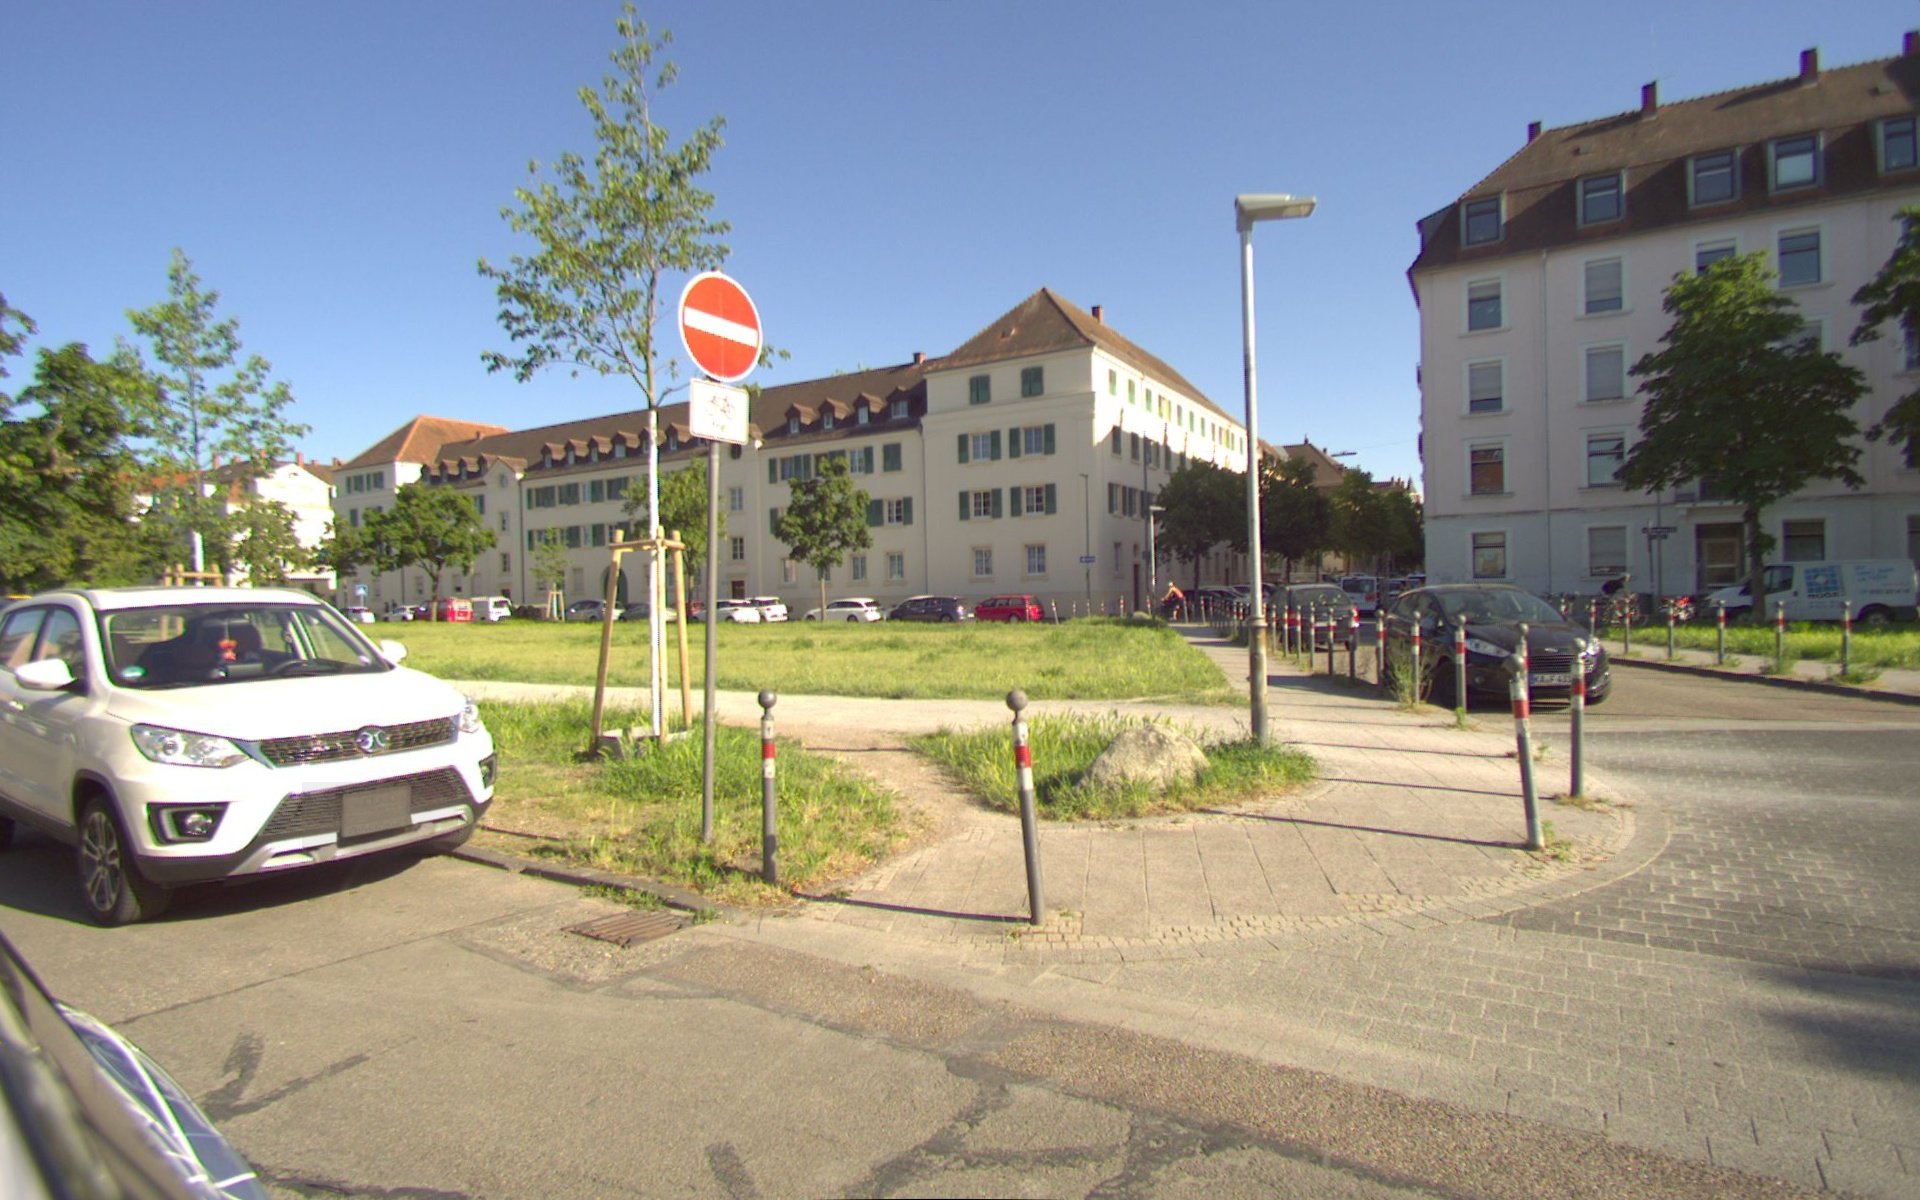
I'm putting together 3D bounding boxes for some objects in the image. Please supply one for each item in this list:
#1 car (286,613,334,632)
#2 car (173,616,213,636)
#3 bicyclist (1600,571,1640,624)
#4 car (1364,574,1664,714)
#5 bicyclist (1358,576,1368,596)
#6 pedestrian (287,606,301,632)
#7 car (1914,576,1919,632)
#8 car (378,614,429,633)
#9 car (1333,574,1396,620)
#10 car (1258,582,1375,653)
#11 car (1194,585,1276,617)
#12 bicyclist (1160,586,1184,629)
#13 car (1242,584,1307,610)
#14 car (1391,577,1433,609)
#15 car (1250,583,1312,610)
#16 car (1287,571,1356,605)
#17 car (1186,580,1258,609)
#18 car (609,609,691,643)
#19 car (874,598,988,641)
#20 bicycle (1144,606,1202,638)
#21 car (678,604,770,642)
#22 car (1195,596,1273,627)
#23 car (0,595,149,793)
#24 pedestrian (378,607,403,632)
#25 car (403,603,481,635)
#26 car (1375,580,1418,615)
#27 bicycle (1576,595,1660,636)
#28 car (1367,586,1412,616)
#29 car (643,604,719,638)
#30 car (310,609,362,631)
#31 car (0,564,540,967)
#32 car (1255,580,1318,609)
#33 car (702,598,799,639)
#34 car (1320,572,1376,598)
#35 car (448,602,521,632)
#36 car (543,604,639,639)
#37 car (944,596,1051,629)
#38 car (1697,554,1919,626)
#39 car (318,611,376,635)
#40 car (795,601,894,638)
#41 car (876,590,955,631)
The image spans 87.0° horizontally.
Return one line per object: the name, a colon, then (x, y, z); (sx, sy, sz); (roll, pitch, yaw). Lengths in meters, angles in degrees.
car: (-48.108, 1.659, 74.837); (3.503, 1.343, 1.638); (-1, 0, 32)
car: (-74.580, 2.515, 98.403); (3.989, 1.807, 1.934); (-1, 0, 34)
bicyclist: (21.408, -0.077, 32.826); (0.870, 1.703, 0.629); (-1, 0, 12)
car: (6.797, 0.468, 13.047); (1.898, 1.420, 4.337); (-3, 0, 8)
bicyclist: (27.779, -0.954, 69.734); (0.531, 1.374, 0.778); (-1, 0, 29)
pedestrian: (-43.855, 1.267, 66.642); (0.672, 1.697, 0.538); (-1, 0, 38)
car: (31.871, 0.085, 30.621); (4.043, 1.765, 1.978); (-1, 0, 33)
car: (-43.112, 1.794, 78.384); (3.987, 1.366, 1.755); (-1, 0, 32)
car: (18.753, -0.162, 46.840); (2.131, 2.029, 4.532); (-1, 0, 29)
car: (8.789, 0.404, 25.342); (1.907, 1.588, 4.337); (-1, 0, 8)
car: (15.854, 0.048, 58.420); (4.226, 1.714, 1.689); (-1, 0, 30)
bicyclist: (8.956, 0.320, 42.767); (0.799, 1.816, 0.668); (-1, 0, 32)
car: (19.789, -0.171, 63.648); (3.599, 1.532, 1.842); (-1, 0, 29)
car: (30.505, -0.505, 68.214); (2.144, 1.998, 4.861); (-1, 0, 29)
car: (20.959, -0.220, 66.079); (3.599, 1.653, 1.814); (-1, 0, 29)
car: (29.280, -0.965, 81.993); (4.934, 2.538, 1.937); (-1, 0, 29)
car: (14.630, -0.298, 56.566); (3.599, 1.532, 1.692); (-1, 0, 29)
car: (-16.973, 1.405, 55.370); (3.998, 1.763, 2.298); (-1, 0, 34)
car: (-1.304, 0.879, 45.260); (4.688, 1.834, 2.142); (-1, 0, 31)
bicycle: (9.002, 0.931, 42.749); (2.250, 1.272, 0.835); (-1, 0, 32)
car: (-12.206, 1.182, 52.315); (4.241, 1.834, 2.220); (-1, 0, 31)
car: (14.444, 0.605, 53.349); (3.655, 1.533, 1.695); (-1, 0, 32)
car: (-9.927, 0.828, 9.826); (4.701, 1.651, 1.828); (-1, -1, 33)
pedestrian: (-46.754, 1.567, 83.043); (1.158, 1.978, 1.332); (-1, 0, 27)
car: (-33.919, 1.260, 66.290); (5.241, 1.999, 2.203); (-1, 0, 33)
car: (26.139, -0.193, 60.506); (1.990, 1.988, 5.007); (-1, 0, 27)
bicycle: (21.330, 0.503, 32.839); (2.132, 1.268, 0.712); (-1, 0, 12)
car: (23.858, 0.032, 56.122); (1.929, 1.580, 3.846); (-1, 0, 28)
car: (-17.074, 1.291, 61.986); (4.152, 1.919, 2.247); (-1, 0, 31)
car: (-60.397, 1.913, 97.998); (2.038, 1.970, 3.772); (-1, 0, 34)
car: (-4.587, 0.733, 6.111); (4.275, 1.660, 1.742); (-1, -2, 34)
car: (21.998, -0.367, 68.218); (3.696, 1.848, 1.937); (-1, 0, 29)
car: (-12.255, 1.090, 59.076); (5.238, 2.233, 2.513); (-1, 0, 31)
car: (38.238, -1.504, 99.725); (4.934, 2.413, 1.937); (-1, 0, 29)
car: (-34.235, 1.212, 72.790); (5.237, 1.999, 2.205); (-1, 0, 31)
car: (-21.218, 1.235, 58.103); (5.439, 1.834, 2.430); (-1, 0, 34)
car: (1.830, 0.620, 49.719); (4.942, 1.496, 1.978); (-1, -1, 32)
car: (24.367, -0.252, 28.926); (5.078, 1.886, 2.067); (-1, 0, 30)
car: (-43.597, 1.667, 71.990); (4.221, 1.595, 1.775); (-1, 0, 32)
car: (-6.324, 1.075, 55.067); (5.142, 1.900, 2.137); (-1, 0, 33)
car: (-2.321, 0.553, 52.440); (3.884, 2.029, 1.652); (-1, 0, 32)
